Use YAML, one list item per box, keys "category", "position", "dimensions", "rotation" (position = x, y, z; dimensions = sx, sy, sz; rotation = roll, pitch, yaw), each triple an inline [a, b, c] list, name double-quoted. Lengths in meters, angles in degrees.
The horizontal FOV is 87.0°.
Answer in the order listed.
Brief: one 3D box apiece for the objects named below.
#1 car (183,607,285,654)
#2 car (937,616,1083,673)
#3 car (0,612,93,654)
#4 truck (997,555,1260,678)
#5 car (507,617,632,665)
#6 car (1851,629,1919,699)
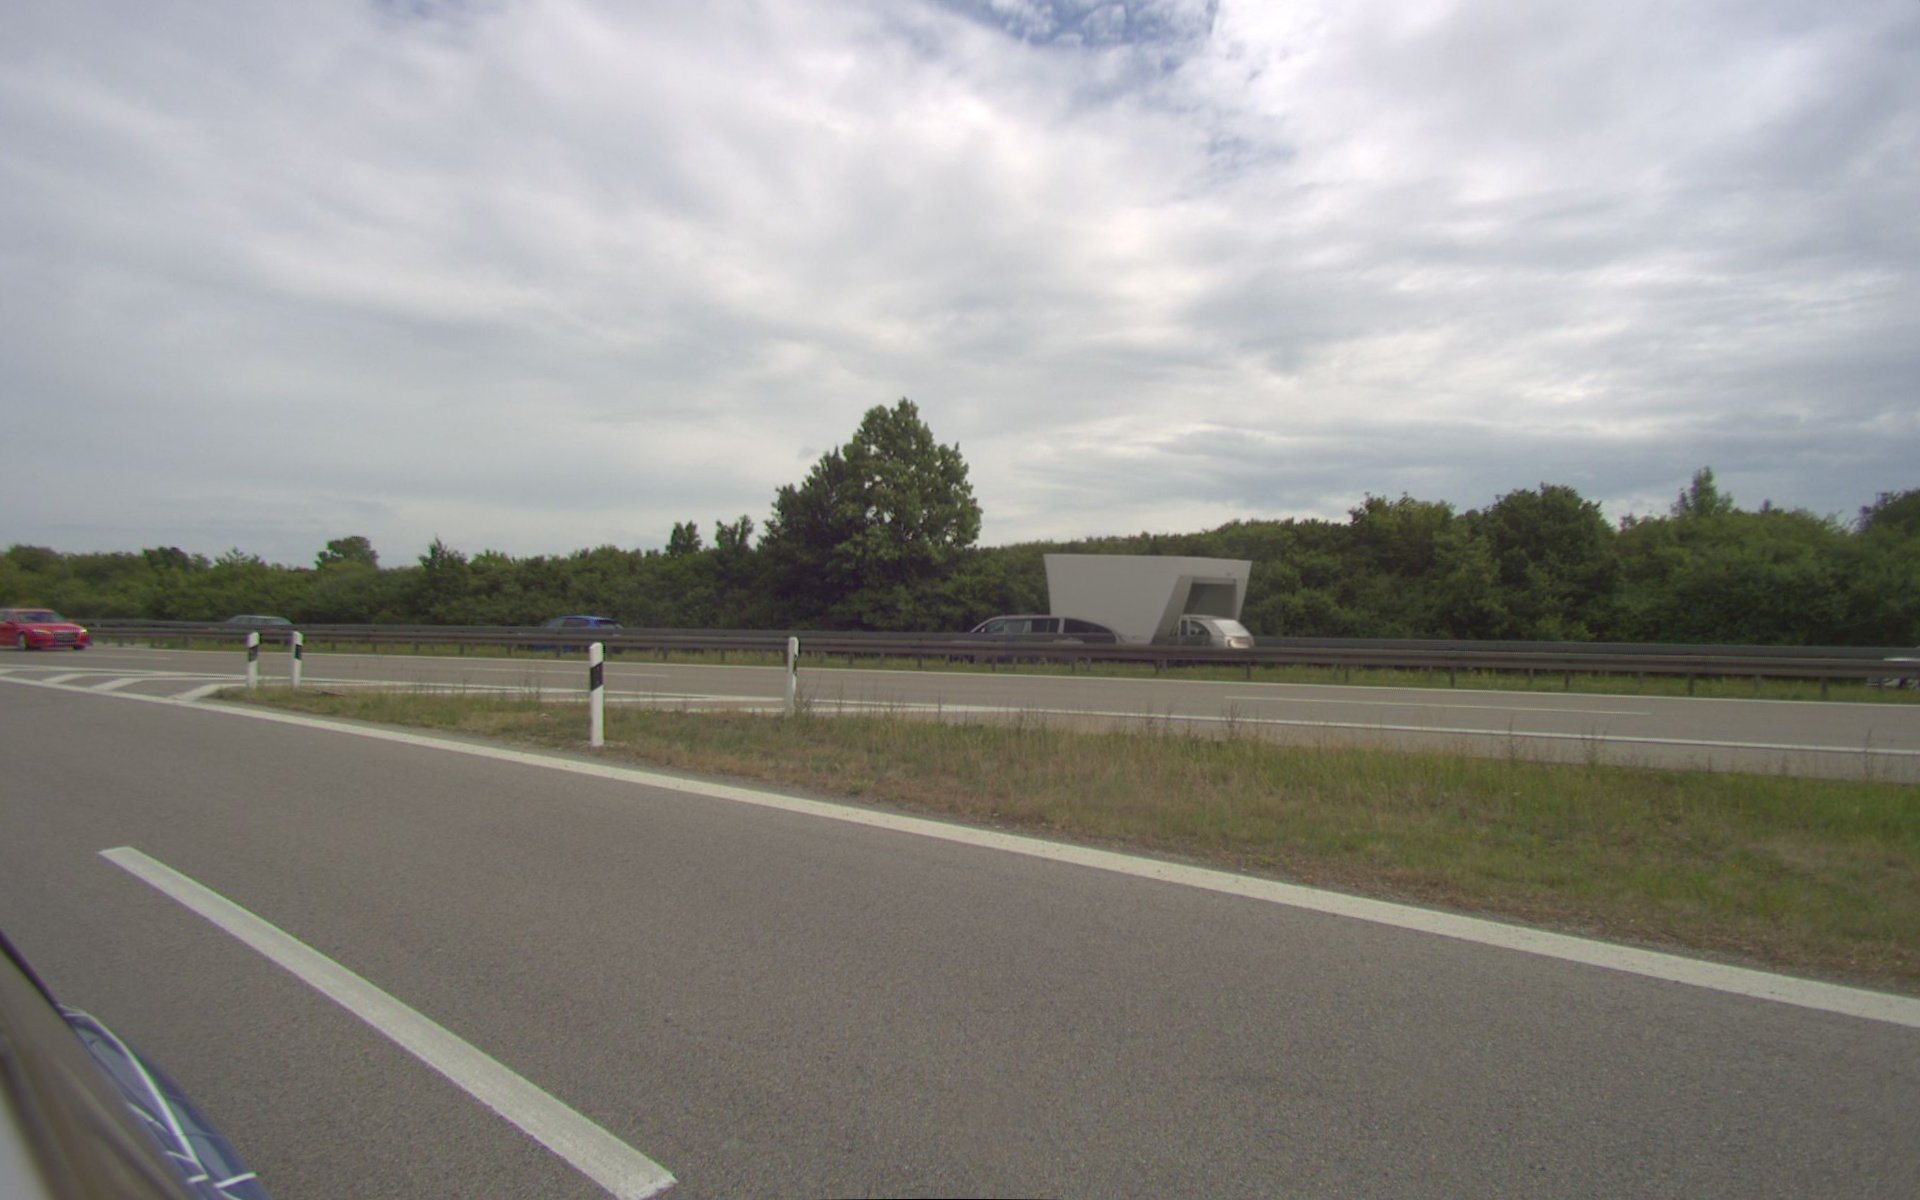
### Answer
- category: "car"
  position: [-32.790, 1.343, 45.693]
  dimensions: [4.192, 2.029, 1.915]
  rotation: [0, -1, 24]
- category: "car"
  position: [1.496, 1.292, 30.126]
  dimensions: [3.973, 1.586, 1.865]
  rotation: [0, -1, 23]
- category: "car"
  position: [-32.090, 1.102, 34.866]
  dimensions: [3.972, 1.352, 1.735]
  rotation: [0, -1, 22]
- category: "truck"
  position: [5.494, 0.518, 33.234]
  dimensions: [8.146, 3.674, 2.746]
  rotation: [0, -1, 24]
- category: "car"
  position: [-14.061, 1.440, 36.497]
  dimensions: [3.975, 1.641, 1.984]
  rotation: [0, -1, 24]
- category: "car"
  position: [24.630, 1.565, 24.612]
  dimensions: [3.975, 1.641, 1.984]
  rotation: [0, -1, 24]
